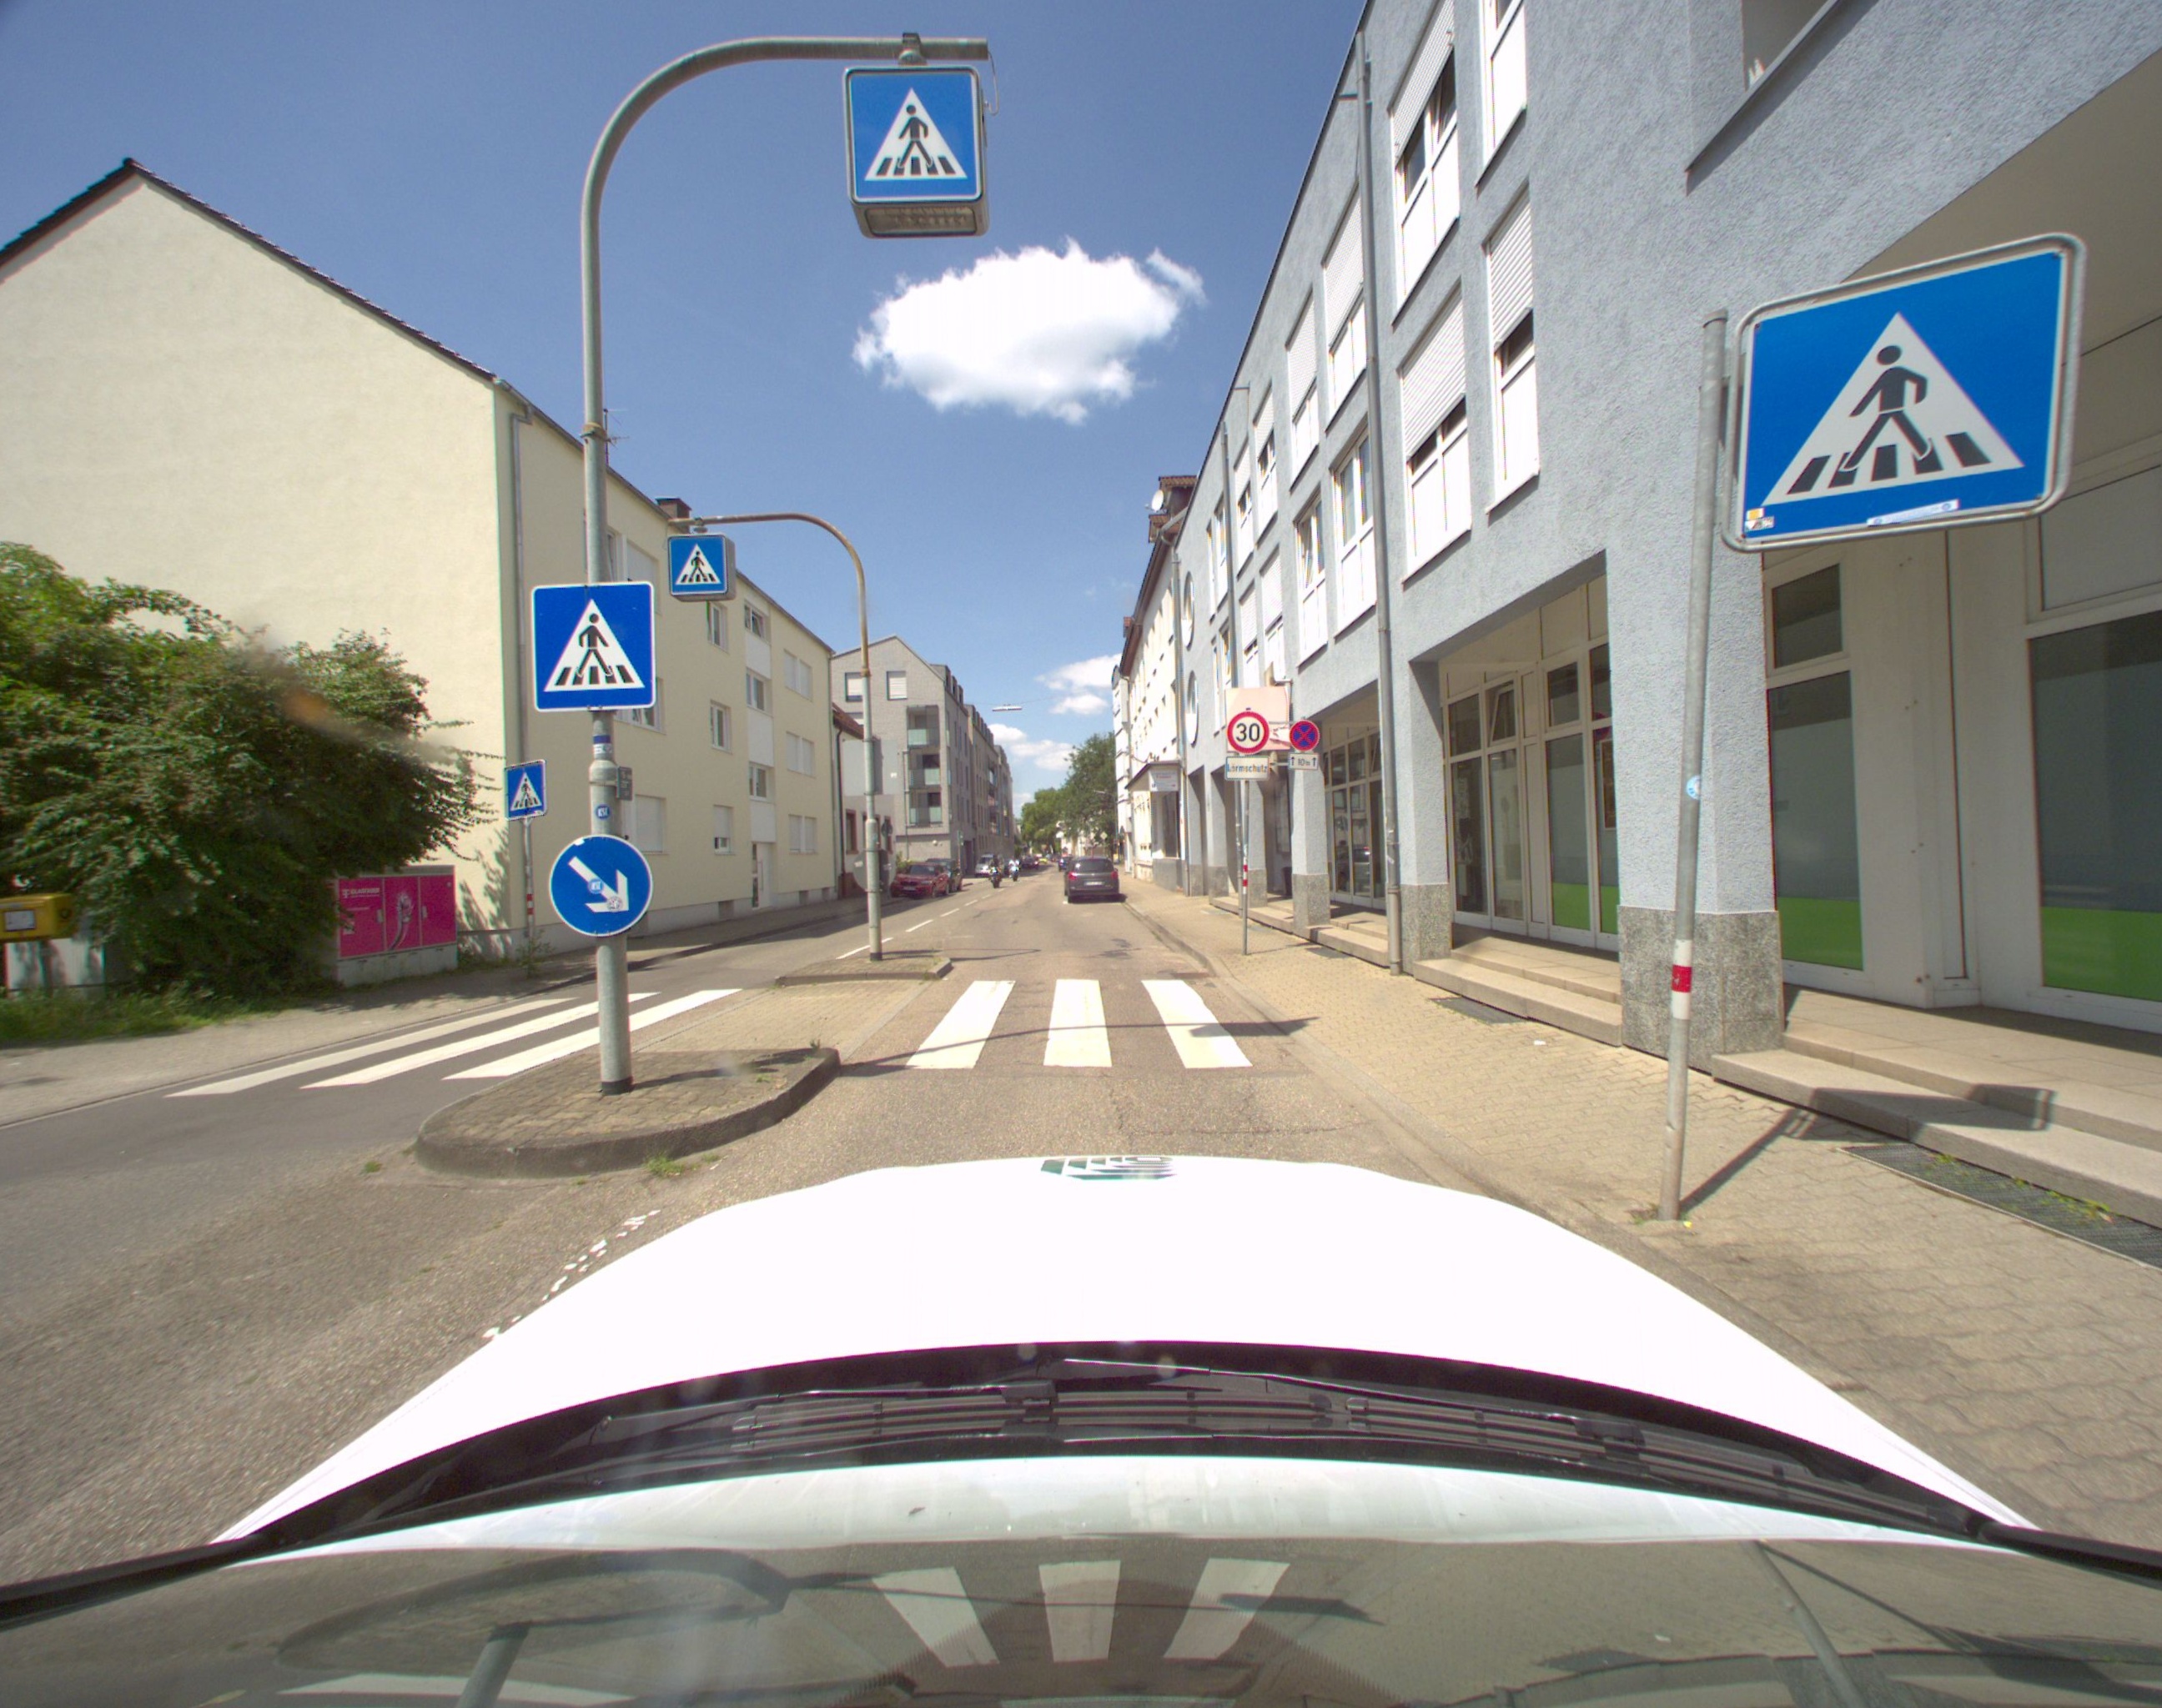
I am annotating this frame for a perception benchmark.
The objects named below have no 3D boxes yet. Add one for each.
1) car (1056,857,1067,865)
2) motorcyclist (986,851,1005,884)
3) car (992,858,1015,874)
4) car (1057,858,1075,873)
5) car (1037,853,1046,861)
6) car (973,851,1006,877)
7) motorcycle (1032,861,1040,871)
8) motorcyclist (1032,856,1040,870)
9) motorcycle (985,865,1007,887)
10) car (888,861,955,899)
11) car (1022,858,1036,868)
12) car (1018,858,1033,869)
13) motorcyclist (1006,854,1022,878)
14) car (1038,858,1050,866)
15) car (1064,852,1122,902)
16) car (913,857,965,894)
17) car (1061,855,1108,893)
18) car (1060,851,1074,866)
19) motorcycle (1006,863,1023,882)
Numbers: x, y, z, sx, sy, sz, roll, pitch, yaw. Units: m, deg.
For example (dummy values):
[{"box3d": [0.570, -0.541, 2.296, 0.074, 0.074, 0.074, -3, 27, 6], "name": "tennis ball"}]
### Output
[{"box3d": [-4.249, 1.435, 175.630, 1.990, 1.618, 3.993, -2, 0, -5], "name": "car"}, {"box3d": [-4.357, 0.675, 41.604, 0.710, 1.634, 1.069, -3, 0, 3], "name": "motorcyclist"}, {"box3d": [-7.138, 1.089, 75.031, 1.717, 1.456, 4.005, -1, 0, 0], "name": "car"}, {"box3d": [-1.442, 1.101, 79.548, 1.710, 1.402, 3.999, -2, 0, -1], "name": "car"}, {"box3d": [-11.105, 0.794, 229.770, 2.155, 2.013, 3.990, -2, 0, -7], "name": "car"}, {"box3d": [-6.976, 0.744, 62.373, 1.750, 1.892, 4.340, 0, 0, 3], "name": "car"}, {"box3d": [-5.261, 1.426, 95.444, 0.685, 1.122, 2.027, -3, 0, 0], "name": "motorcycle"}, {"box3d": [-5.252, 1.064, 95.375, 0.820, 1.509, 1.056, -3, 0, 0], "name": "motorcyclist"}, {"box3d": [-4.343, 1.123, 41.698, 0.710, 1.028, 2.241, -3, 0, 3], "name": "motorcycle"}, {"box3d": [-6.734, 1.076, 34.776, 1.827, 1.417, 4.291, -2, 0, 2], "name": "car"}, {"box3d": [-7.382, 1.264, 115.319, 1.727, 1.442, 3.997, -2, 0, -1], "name": "car"}, {"box3d": [-7.496, 1.288, 110.306, 1.727, 1.442, 3.997, -2, 0, -1], "name": "car"}, {"box3d": [-4.269, 0.758, 52.105, 0.913, 1.480, 1.202, -2, 0, -1], "name": "motorcyclist"}, {"box3d": [-6.922, 1.466, 152.575, 1.986, 1.381, 4.393, 0, 0, 1], "name": "car"}, {"box3d": [0.338, 0.726, 27.506, 1.705, 1.508, 3.996, -2, 0, -3], "name": "car"}, {"box3d": [-6.835, 1.003, 39.630, 1.789, 1.646, 3.944, -1, 0, 0], "name": "car"}, {"box3d": [0.099, 0.780, 33.543, 1.724, 1.420, 4.543, -2, 0, -1], "name": "car"}, {"box3d": [-1.934, 0.631, 113.250, 1.833, 2.013, 3.999, -2, 0, 0], "name": "car"}, {"box3d": [-4.246, 1.178, 52.068, 0.893, 1.176, 2.207, -2, 0, -1], "name": "motorcycle"}]
